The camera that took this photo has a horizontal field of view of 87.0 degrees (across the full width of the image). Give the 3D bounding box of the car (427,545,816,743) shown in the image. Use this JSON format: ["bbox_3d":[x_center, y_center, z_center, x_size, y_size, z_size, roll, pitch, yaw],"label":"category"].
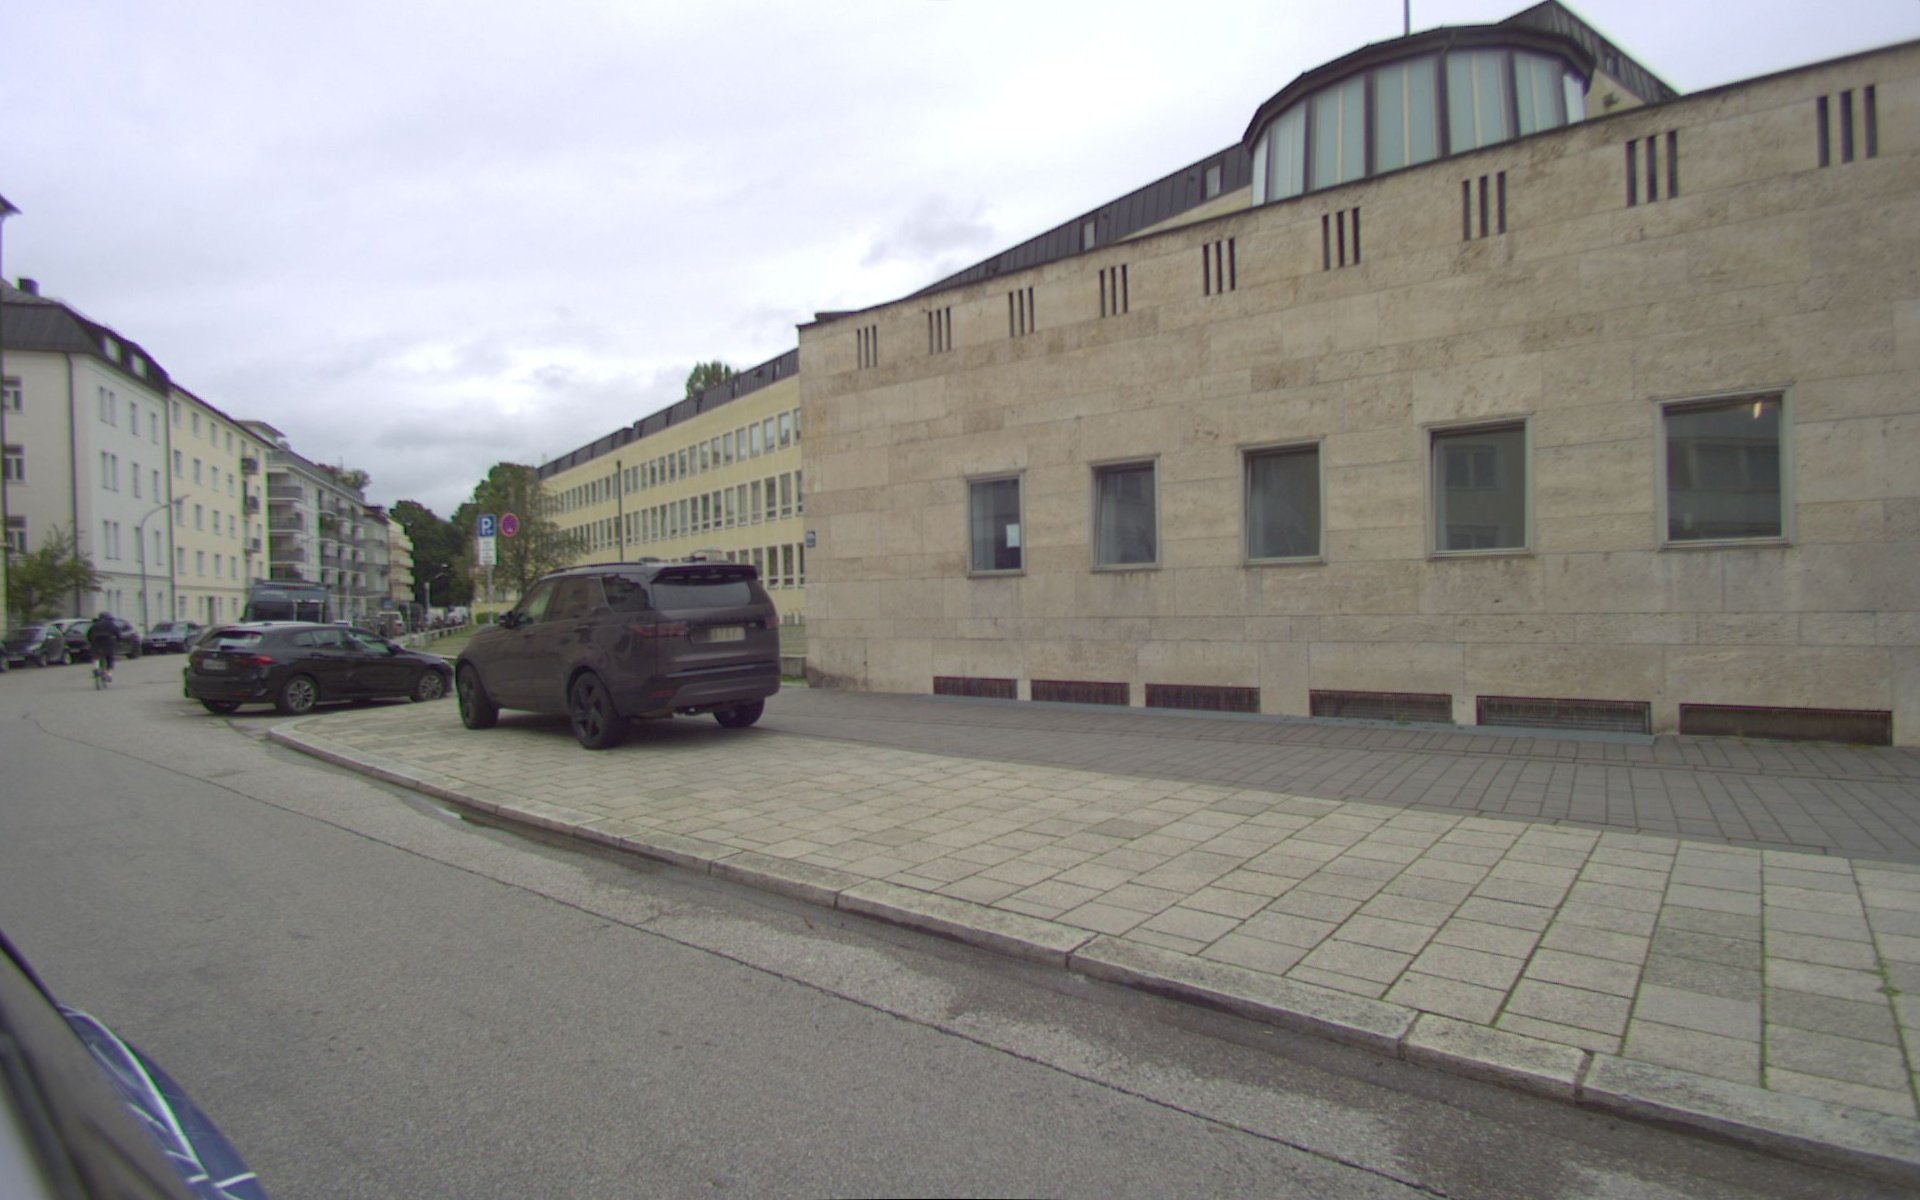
[{"bbox_3d":[-3.992,0.439,11.459,4.812,1.785,1.973,-2,0,41],"label":"car"}]

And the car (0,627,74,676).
[{"bbox_3d":[-34.340,1.879,37.372,1.486,1.568,2.872,-4,1,-21],"label":"car"}]

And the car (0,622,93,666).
[{"bbox_3d":[-41.458,1.945,44.536,4.843,1.785,1.890,-1,0,-35],"label":"car"}]

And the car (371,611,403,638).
[{"bbox_3d":[-45.648,1.924,80.668,1.917,1.991,4.370,-1,0,-25],"label":"car"}]

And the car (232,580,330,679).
[{"bbox_3d":[-20.073,0.820,29.793,2.116,2.593,6.225,0,-1,-36],"label":"car"}]

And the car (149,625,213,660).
[{"bbox_3d":[-41.311,2.233,53.774,1.753,1.602,3.714,-4,1,-23],"label":"car"}]

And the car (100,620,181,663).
[{"bbox_3d":[-38.937,1.911,48.178,1.753,1.742,4.404,-4,1,-23],"label":"car"}]

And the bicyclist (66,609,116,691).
[{"bbox_3d":[-19.011,1.090,22.144,0.739,1.730,1.032,-1,-1,-44],"label":"bicyclist"}]

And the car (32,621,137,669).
[{"bbox_3d":[-36.416,1.856,42.242,1.901,1.743,4.702,-4,0,-23],"label":"car"}]

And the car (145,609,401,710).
[{"bbox_3d":[-13.318,1.096,19.938,1.661,1.541,3.962,-3,1,17],"label":"car"}]

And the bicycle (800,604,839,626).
[{"bbox_3d":[-6.826,0.742,49.095,1.877,0.923,0.439,-5,2,-39],"label":"bicycle"}]

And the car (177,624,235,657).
[{"bbox_3d":[-42.858,2.250,57.572,1.753,1.602,3.714,-4,1,-23],"label":"car"}]

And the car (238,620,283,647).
[{"bbox_3d":[-48.627,2.313,70.415,1.753,1.602,3.714,-4,1,-23],"label":"car"}]

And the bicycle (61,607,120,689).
[{"bbox_3d":[-19.540,1.078,22.703,0.786,1.735,3.117,1,-3,-44],"label":"bicycle"}]

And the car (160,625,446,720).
[{"bbox_3d":[-10.931,1.129,17.208,1.733,1.384,3.988,-1,-1,14],"label":"car"}]

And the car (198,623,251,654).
[{"bbox_3d":[-44.407,2.273,61.165,1.753,1.602,3.714,-4,1,-23],"label":"car"}]

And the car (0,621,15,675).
[{"bbox_3d":[-31.488,1.611,31.484,1.811,1.742,3.742,-4,1,-23],"label":"car"}]

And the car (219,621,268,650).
[{"bbox_3d":[-46.260,2.268,65.410,1.753,1.602,3.714,-4,1,-23],"label":"car"}]
